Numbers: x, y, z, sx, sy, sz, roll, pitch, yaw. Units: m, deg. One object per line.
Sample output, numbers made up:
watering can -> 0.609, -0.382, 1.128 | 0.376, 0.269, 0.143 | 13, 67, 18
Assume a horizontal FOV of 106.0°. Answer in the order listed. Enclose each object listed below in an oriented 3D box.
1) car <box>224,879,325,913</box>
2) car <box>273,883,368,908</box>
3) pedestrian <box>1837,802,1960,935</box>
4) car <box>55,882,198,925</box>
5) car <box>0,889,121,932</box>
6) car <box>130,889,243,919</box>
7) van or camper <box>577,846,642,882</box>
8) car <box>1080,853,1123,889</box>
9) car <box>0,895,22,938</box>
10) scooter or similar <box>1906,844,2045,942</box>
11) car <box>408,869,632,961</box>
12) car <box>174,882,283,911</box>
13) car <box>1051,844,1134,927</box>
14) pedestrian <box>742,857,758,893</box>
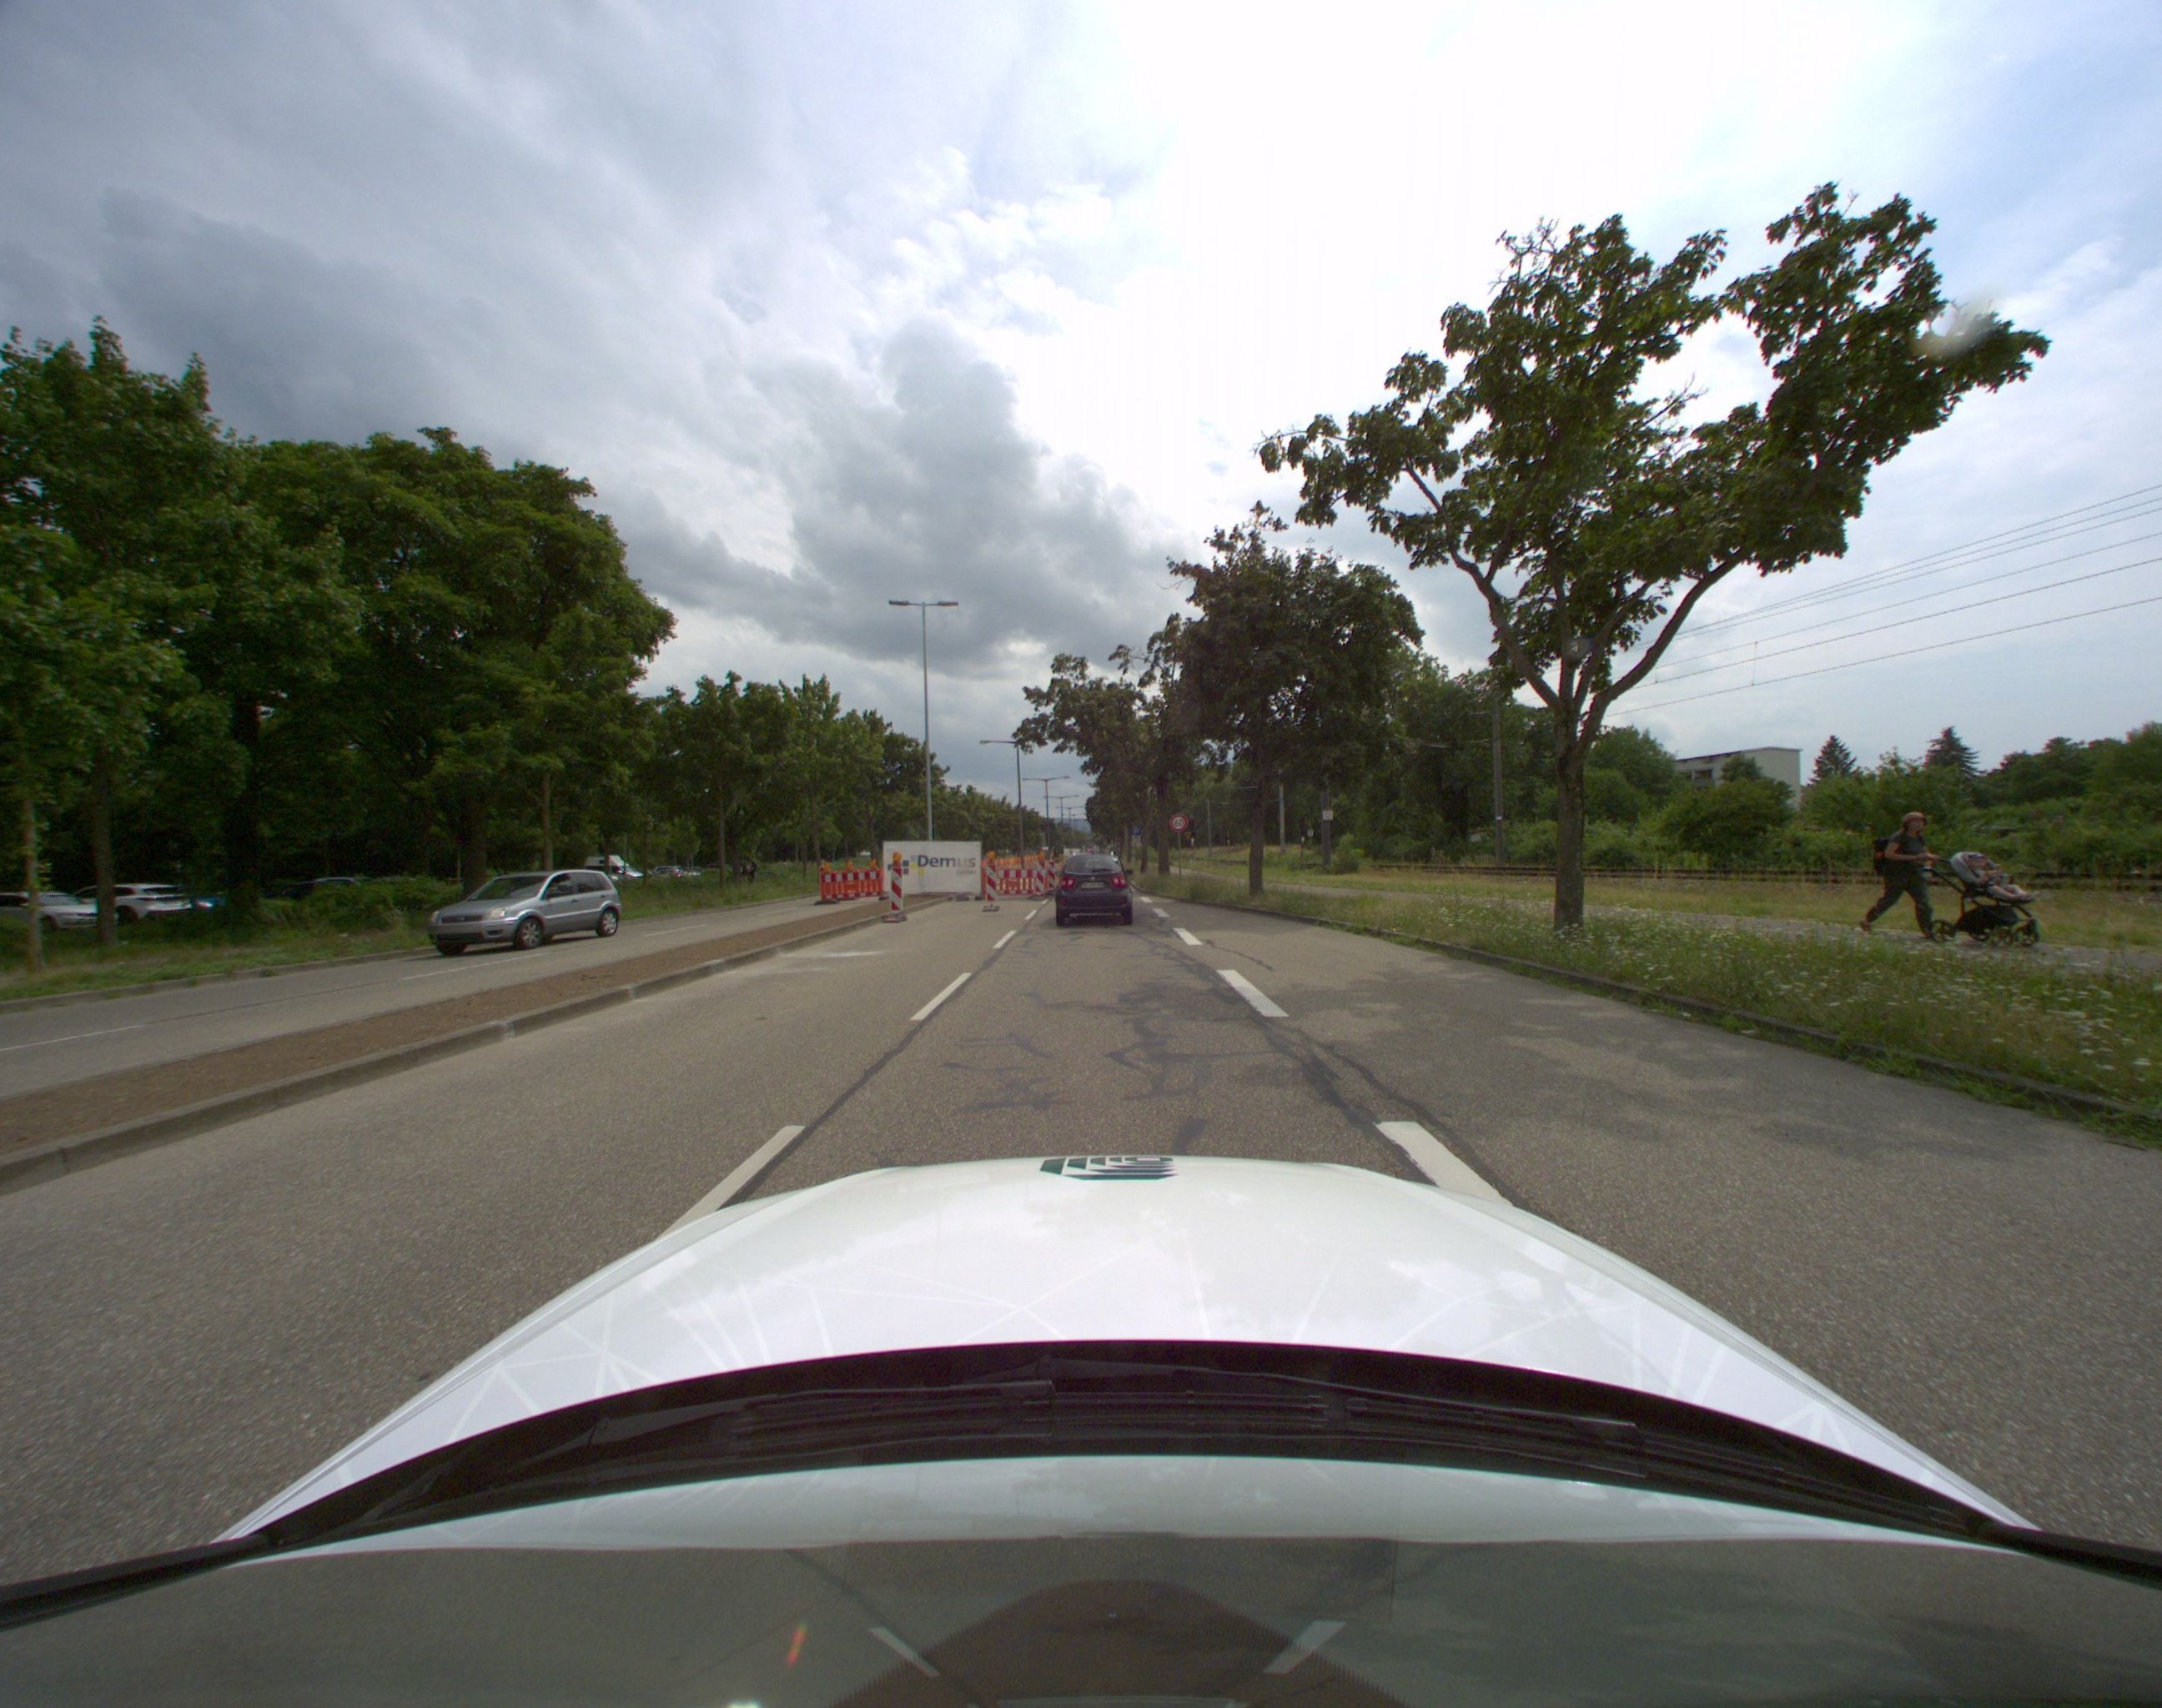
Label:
car -> -37.956, 1.957, 38.344 | 3.534, 1.411, 1.323 | -1, 0, 4
car -> -37.418, 2.041, 40.092 | 3.352, 1.094, 1.442 | -2, 1, 3
pedestrian -> 10.973, 0.177, 10.961 | 0.688, 1.695, 0.933 | -2, 0, -3
car -> -38.177, 1.966, 32.634 | 3.633, 1.519, 1.885 | -1, 0, 4
car -> -38.035, 2.062, 30.012 | 3.633, 1.411, 1.519 | -1, 0, 4
car -> -38.455, 2.152, 35.058 | 3.352, 1.112, 1.442 | -2, 0, 3
van or camper -> -37.844, 0.769, 65.410 | 3.972, 2.756, 1.927 | -2, 0, 1
car -> 0.877, 0.748, 37.575 | 1.762, 1.464, 3.998 | -2, 1, -1
car -> -38.265, 2.182, 27.312 | 3.633, 1.411, 1.519 | -1, 0, 4
scooter or similar -> 11.008, 0.456, 10.053 | 0.680, 1.130, 0.933 | -2, 0, -3
car -> -11.298, 1.141, 16.801 | 1.697, 1.477, 4.001 | -3, 1, 1
car -> -37.784, 1.884, 36.146 | 3.352, 1.128, 1.442 | -2, 0, 3
car -> 0.260, 0.633, 18.922 | 1.698, 1.668, 4.000 | -1, 1, 1
pedestrian -> -17.227, 1.095, 42.359 | 0.693, 1.838, 0.647 | -2, 0, -20
